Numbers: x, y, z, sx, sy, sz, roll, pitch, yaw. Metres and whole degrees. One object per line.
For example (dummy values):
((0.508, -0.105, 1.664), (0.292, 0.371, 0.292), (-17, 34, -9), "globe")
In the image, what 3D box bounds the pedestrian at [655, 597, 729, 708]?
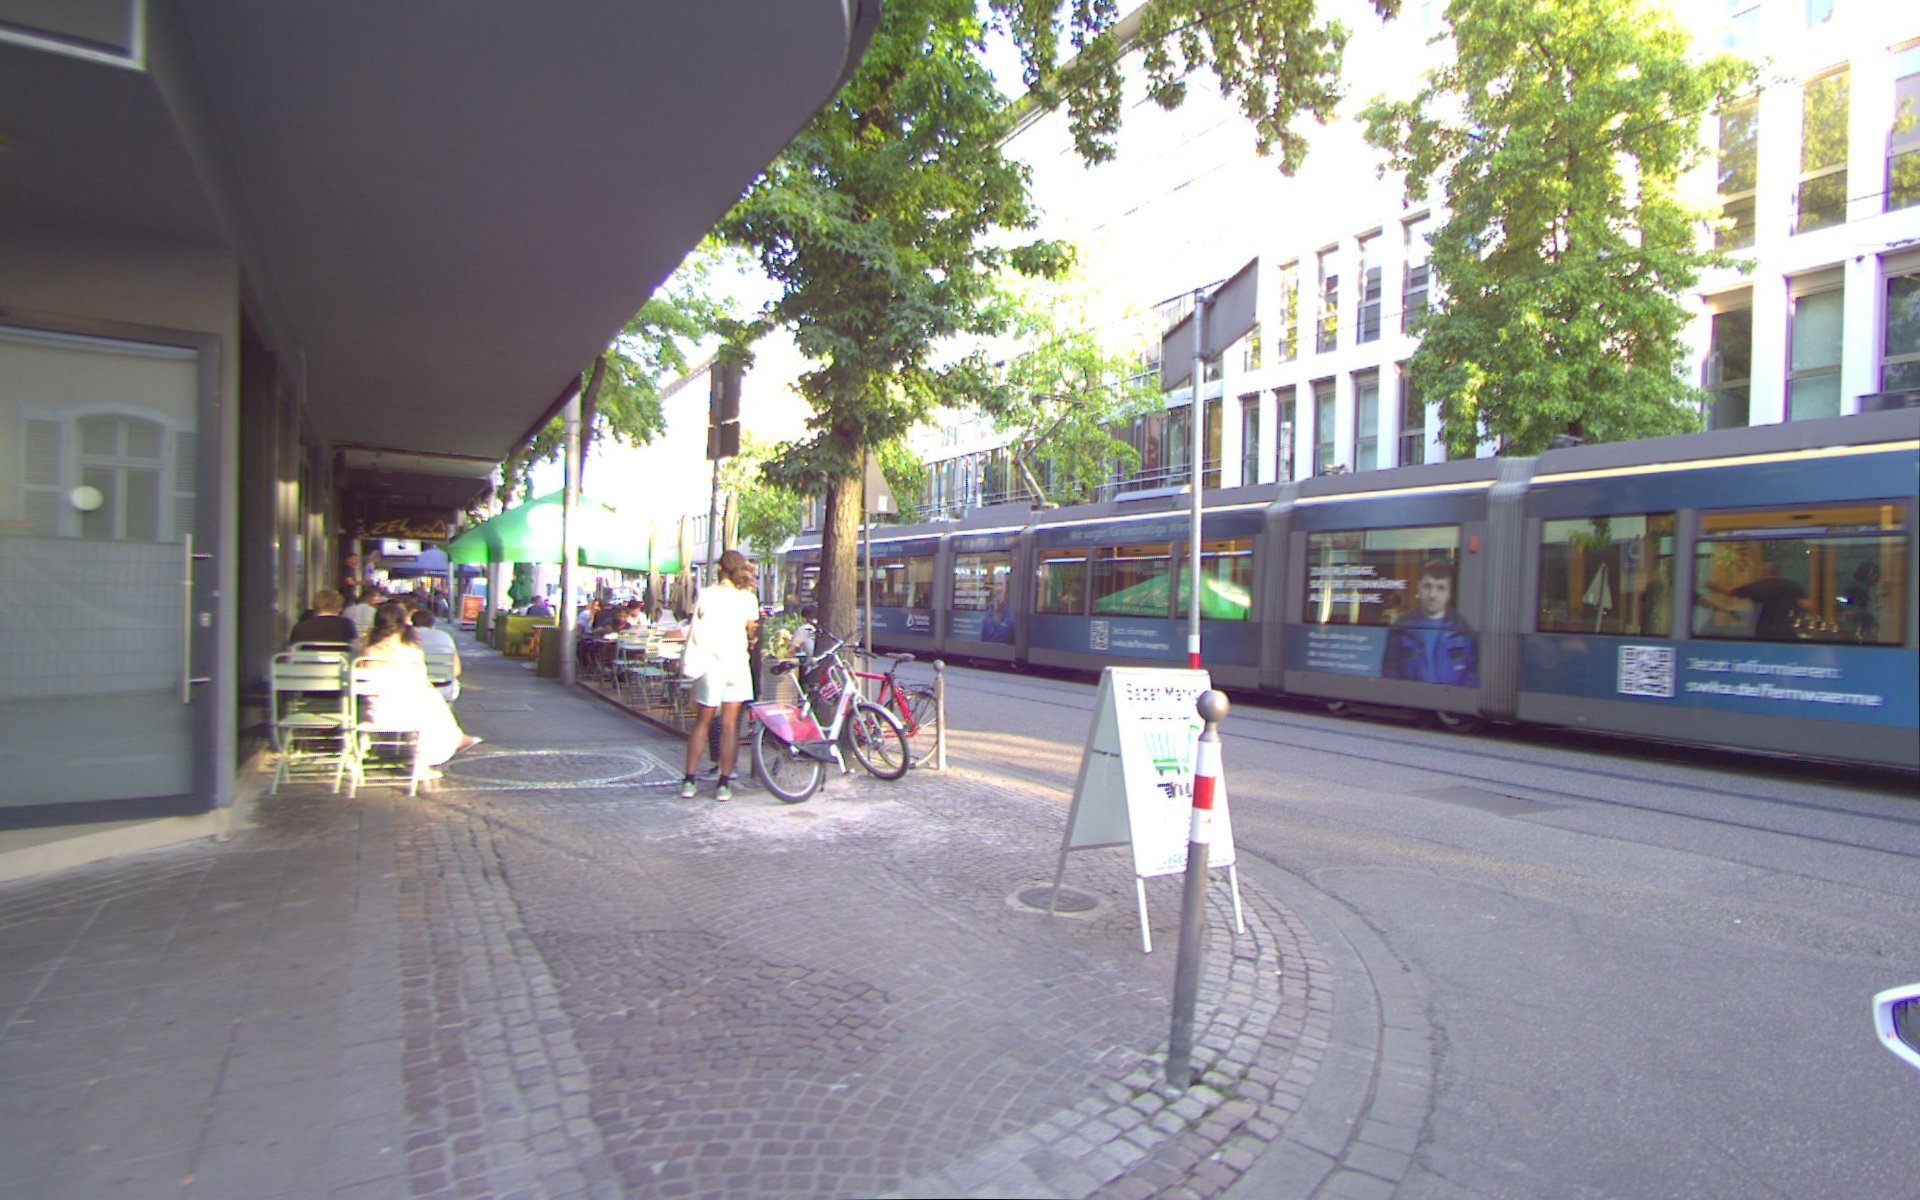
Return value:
((-3.461, 0.661, 12.956), (0.709, 1.380, 0.865), (2, -1, -29), "pedestrian")

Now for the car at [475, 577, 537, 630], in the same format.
((-17.532, 0.171, 38.679), (1.778, 1.842, 4.482), (3, -2, -29), "car")

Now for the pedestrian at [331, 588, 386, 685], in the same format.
((-8.945, 0.546, 14.961), (0.649, 1.396, 0.759), (2, -1, -30), "pedestrian")

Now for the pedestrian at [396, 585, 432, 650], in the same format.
((-12.046, 0.394, 22.169), (0.649, 1.396, 0.759), (2, -1, -30), "pedestrian")

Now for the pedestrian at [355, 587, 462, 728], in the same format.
((-5.530, 0.559, 10.119), (0.877, 1.337, 0.875), (2, -1, -27), "pedestrian")

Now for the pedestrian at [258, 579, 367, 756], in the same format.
((-5.213, 0.526, 8.131), (0.616, 1.337, 0.836), (2, -1, -27), "pedestrian")

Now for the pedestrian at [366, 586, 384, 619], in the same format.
((-26.633, 0.136, 45.727), (0.604, 1.452, 0.508), (4, -2, -28), "pedestrian")

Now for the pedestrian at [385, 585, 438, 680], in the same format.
((-8.354, 0.490, 15.295), (0.649, 1.396, 0.759), (2, -1, -30), "pedestrian")

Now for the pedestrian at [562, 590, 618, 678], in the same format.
((-6.074, 0.549, 16.475), (0.709, 1.380, 1.004), (2, -1, -28), "pedestrian")

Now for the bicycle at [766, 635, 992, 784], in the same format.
((-0.666, 0.895, 8.630), (1.847, 1.154, 0.621), (2, -1, -34), "bicycle")

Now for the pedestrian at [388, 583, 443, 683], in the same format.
((-7.864, 0.477, 14.504), (0.649, 1.396, 0.759), (2, -1, -30), "pedestrian")

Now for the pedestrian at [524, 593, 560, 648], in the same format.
((-9.979, 0.499, 23.961), (0.702, 1.281, 0.595), (2, -1, -30), "pedestrian")

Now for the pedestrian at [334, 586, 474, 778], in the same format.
((-4.157, 0.586, 7.577), (0.839, 1.337, 0.876), (2, -1, -27), "pedestrian")

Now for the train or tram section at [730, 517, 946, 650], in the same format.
((-4.349, -0.418, 32.633), (3.019, 3.570, 10.445), (2, -1, -30), "train or tram section")

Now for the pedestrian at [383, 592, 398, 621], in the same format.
((-25.312, 0.281, 44.642), (0.507, 1.258, 0.655), (5, -2, -30), "pedestrian")

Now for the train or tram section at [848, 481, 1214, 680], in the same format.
((0.951, -0.326, 23.422), (2.978, 3.570, 10.757), (1, -1, -30), "train or tram section")

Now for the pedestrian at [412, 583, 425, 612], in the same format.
((-27.332, -0.130, 50.740), (0.505, 1.452, 0.607), (3, -1, -28), "pedestrian")

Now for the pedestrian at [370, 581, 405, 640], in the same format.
((-13.779, 0.259, 24.169), (0.684, 1.396, 0.759), (2, -1, -30), "pedestrian")

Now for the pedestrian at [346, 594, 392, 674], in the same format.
((-10.517, 0.601, 17.893), (0.649, 1.396, 0.759), (2, -1, -30), "pedestrian")

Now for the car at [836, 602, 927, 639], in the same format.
((-3.514, 0.893, 45.684), (1.834, 1.477, 4.169), (0, 2, 36), "car")

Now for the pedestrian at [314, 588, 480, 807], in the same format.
((-3.732, 0.611, 6.725), (0.877, 1.337, 0.875), (2, -1, -27), "pedestrian")

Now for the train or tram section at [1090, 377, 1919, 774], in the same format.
((6.223, -0.183, 14.265), (2.982, 3.570, 10.317), (2, -1, -30), "train or tram section")

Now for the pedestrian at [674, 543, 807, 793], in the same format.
((-1.634, 0.484, 7.566), (0.629, 1.764, 0.782), (1, -1, 17), "pedestrian")

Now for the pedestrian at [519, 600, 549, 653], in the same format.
((-11.251, 0.693, 26.507), (0.638, 1.363, 0.725), (2, -1, -29), "pedestrian")

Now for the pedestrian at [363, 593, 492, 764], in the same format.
((-4.461, 0.634, 8.457), (0.877, 1.337, 0.875), (2, -1, -27), "pedestrian")

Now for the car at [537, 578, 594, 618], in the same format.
((-20.776, -0.104, 52.805), (1.977, 2.003, 4.809), (1, 0, -31), "car")

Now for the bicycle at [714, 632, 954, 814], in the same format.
((-0.867, 0.829, 7.487), (0.767, 1.154, 1.863), (1, -1, 31), "bicycle")

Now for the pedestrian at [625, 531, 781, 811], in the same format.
((-1.727, 0.453, 6.817), (0.630, 1.764, 0.780), (1, -1, 29), "pedestrian")

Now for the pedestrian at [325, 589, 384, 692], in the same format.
((-8.500, 0.565, 14.129), (0.649, 1.396, 0.759), (2, -1, -30), "pedestrian")

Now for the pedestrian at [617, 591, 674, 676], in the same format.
((-5.300, 0.559, 16.916), (0.709, 1.380, 1.004), (2, -1, -28), "pedestrian")

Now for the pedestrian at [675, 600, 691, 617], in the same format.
((-22.931, 0.717, 83.176), (1.102, 1.346, 0.919), (-1, 1, -30), "pedestrian")

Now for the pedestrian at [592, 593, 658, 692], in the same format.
((-4.874, 0.606, 14.585), (0.709, 1.380, 1.004), (2, -1, -28), "pedestrian")

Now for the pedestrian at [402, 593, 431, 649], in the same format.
((-13.845, 0.534, 25.582), (0.600, 1.396, 0.643), (2, -1, -30), "pedestrian")

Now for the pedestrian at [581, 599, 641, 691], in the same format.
((-5.422, 0.690, 15.594), (0.709, 1.380, 0.918), (2, -1, -28), "pedestrian")

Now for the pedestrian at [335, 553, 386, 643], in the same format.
((-12.202, -0.028, 20.443), (0.754, 1.789, 0.653), (0, -1, 41), "pedestrian")

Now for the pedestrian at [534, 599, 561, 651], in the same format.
((-11.338, 0.691, 27.600), (0.574, 1.396, 0.560), (2, -1, -30), "pedestrian")

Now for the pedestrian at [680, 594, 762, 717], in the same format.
((-2.830, 0.636, 11.859), (0.709, 1.380, 0.918), (2, -1, -28), "pedestrian")

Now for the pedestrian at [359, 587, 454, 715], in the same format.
((-6.053, 0.548, 11.037), (0.839, 1.337, 0.876), (2, -1, -27), "pedestrian")

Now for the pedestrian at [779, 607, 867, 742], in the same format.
((-1.499, 0.782, 10.905), (0.687, 1.395, 0.787), (2, -1, -29), "pedestrian")

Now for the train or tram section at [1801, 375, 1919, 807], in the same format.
((11.387, -0.052, 5.294), (2.991, 3.570, 10.286), (1, -1, -30), "train or tram section")

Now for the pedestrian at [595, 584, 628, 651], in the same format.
((-7.436, 0.377, 21.420), (0.542, 1.396, 0.560), (2, -1, -30), "pedestrian")

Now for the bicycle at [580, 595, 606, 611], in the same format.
((-37.110, 0.315, 101.628), (2.312, 1.491, 0.783), (2, -1, -35), "bicycle")

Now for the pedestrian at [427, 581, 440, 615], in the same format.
((-26.806, -0.109, 51.164), (0.505, 1.683, 0.607), (3, -1, -28), "pedestrian")

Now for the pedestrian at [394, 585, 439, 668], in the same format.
((-9.432, 0.454, 17.423), (0.649, 1.396, 0.759), (2, -1, -30), "pedestrian")
